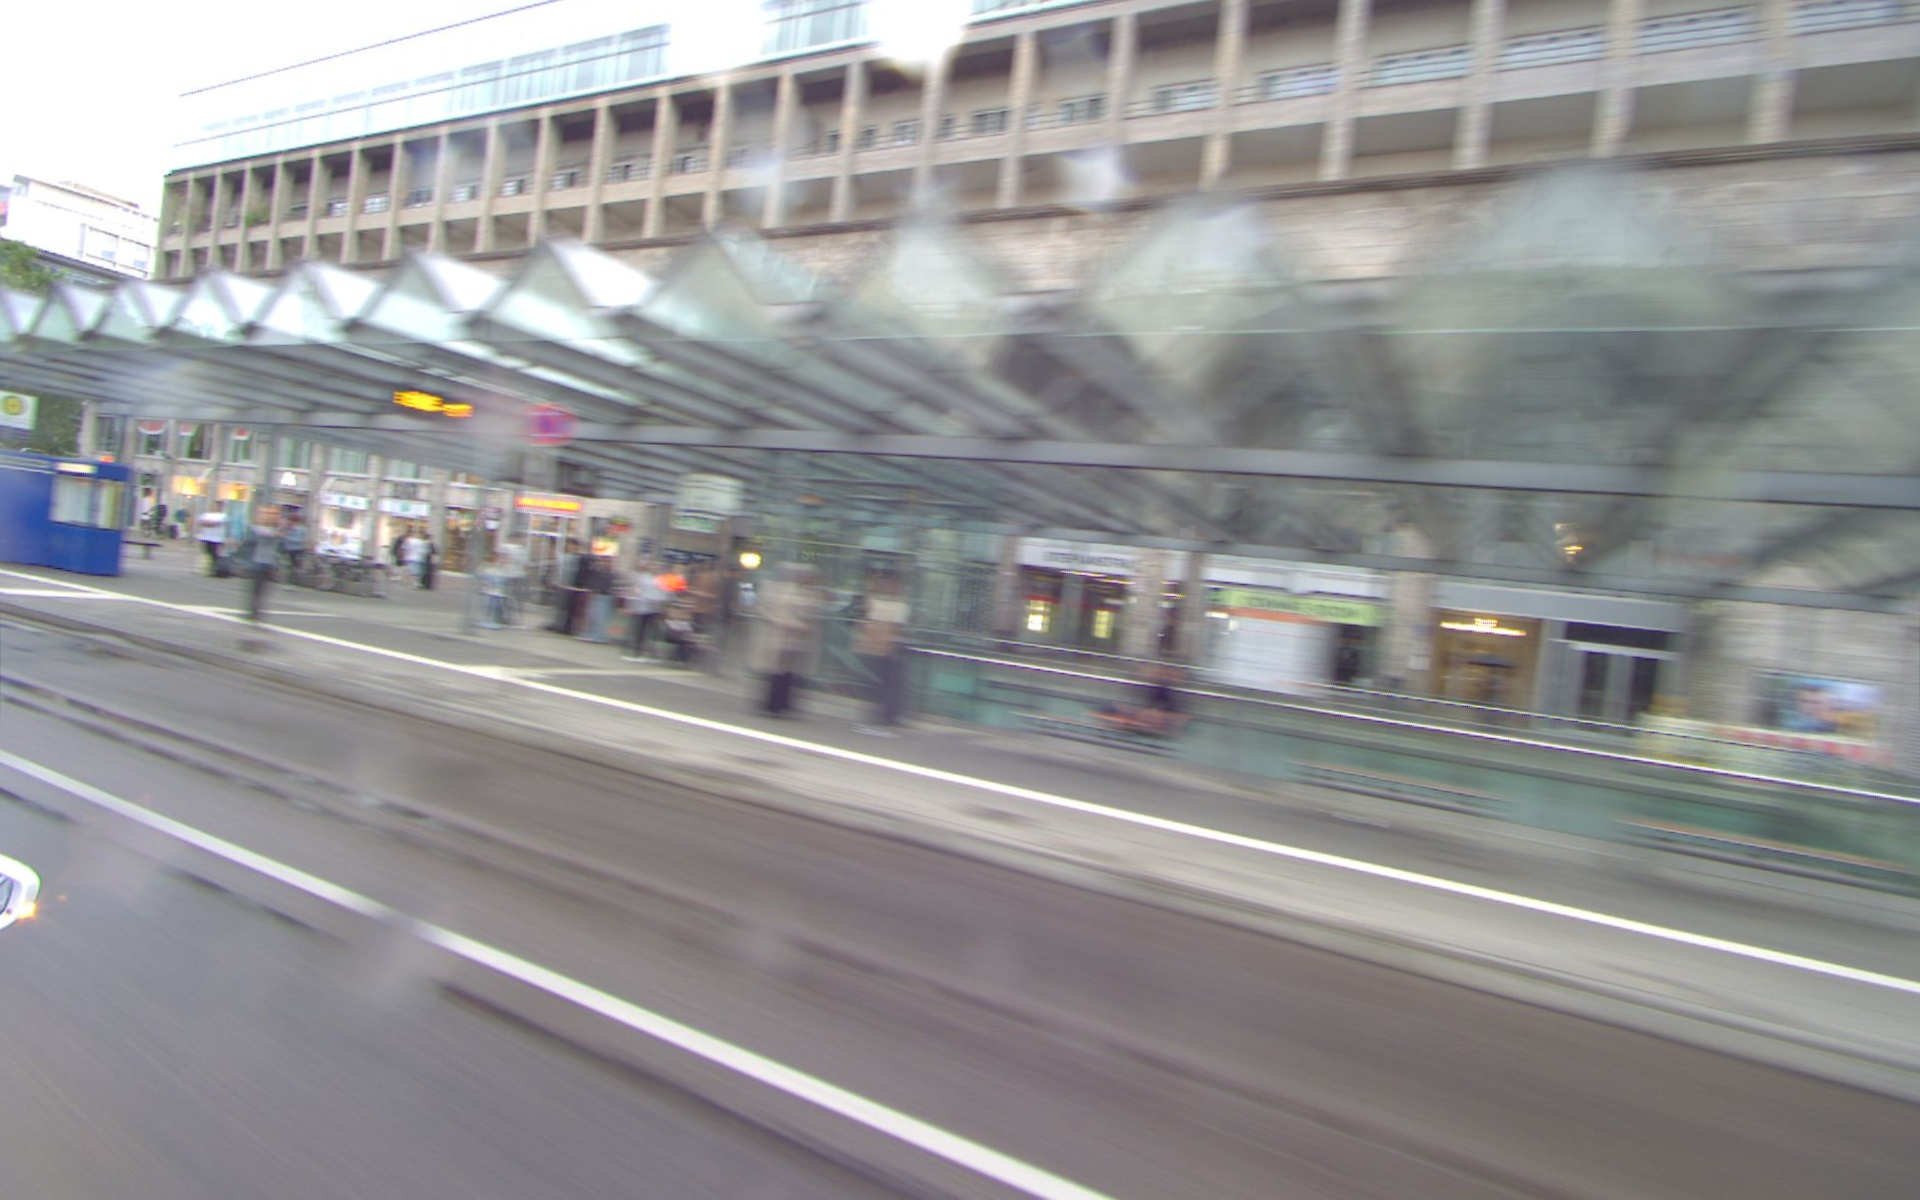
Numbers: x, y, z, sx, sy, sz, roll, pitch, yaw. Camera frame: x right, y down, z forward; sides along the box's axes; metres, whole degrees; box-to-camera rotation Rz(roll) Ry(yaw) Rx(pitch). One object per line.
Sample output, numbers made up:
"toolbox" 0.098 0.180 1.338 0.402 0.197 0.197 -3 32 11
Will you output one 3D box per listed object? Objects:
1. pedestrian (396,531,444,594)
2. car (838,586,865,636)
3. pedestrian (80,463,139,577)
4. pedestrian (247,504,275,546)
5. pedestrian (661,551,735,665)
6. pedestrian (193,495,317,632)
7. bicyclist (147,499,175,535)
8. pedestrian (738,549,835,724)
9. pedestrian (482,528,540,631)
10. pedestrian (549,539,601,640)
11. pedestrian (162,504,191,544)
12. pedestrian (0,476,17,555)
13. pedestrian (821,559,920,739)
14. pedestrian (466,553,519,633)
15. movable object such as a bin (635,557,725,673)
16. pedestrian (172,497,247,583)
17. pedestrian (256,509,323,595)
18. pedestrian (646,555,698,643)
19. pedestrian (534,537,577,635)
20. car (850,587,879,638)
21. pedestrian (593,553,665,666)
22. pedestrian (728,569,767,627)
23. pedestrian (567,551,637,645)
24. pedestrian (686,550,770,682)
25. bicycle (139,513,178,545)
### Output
"pedestrian" -15.890 -1.095 29.631 0.974 1.715 0.853 7 0 -22
"car" -3.617 0.369 33.493 0.464 1.557 0.590 6 -1 30
"pedestrian" -17.657 -1.655 20.889 0.577 2.242 0.591 7 0 30
"pedestrian" -32.165 -3.437 46.284 0.776 1.814 0.653 7 1 32
"pedestrian" -4.535 0.153 17.438 0.748 1.871 0.752 7 0 24
"pedestrian" -9.592 -0.473 13.715 0.980 1.711 0.762 7 0 7
"bicyclist" -37.567 -3.888 47.310 0.892 1.574 0.650 6 1 29
"pedestrian" -1.937 0.411 11.268 0.564 1.859 0.677 7 0 30
"pedestrian" -8.669 -0.390 19.437 0.615 1.882 0.607 7 0 37
"pedestrian" -7.431 -0.192 19.444 0.582 1.853 0.607 7 0 -1
"pedestrian" -38.828 -3.754 49.855 0.775 1.814 0.732 7 1 27
"pedestrian" -23.346 -2.076 24.056 0.824 1.859 0.983 7 0 43
"pedestrian" -0.974 0.534 11.031 0.630 1.859 0.628 7 0 30
"pedestrian" -8.661 -0.125 18.653 0.499 1.394 0.553 7 0 23
"movable object such as a bin" -4.391 0.240 15.822 1.029 1.672 0.665 7 0 5
"pedestrian" -17.396 -1.381 23.338 0.974 1.827 0.788 6 1 -1
"pedestrian" -14.554 -1.041 21.839 0.887 1.716 0.749 7 0 31
"pedestrian" -6.420 -0.010 22.458 0.739 1.853 0.761 7 0 -1
"pedestrian" -8.192 -0.289 20.365 0.590 1.897 0.587 7 0 -25
"car" -3.131 0.414 32.989 0.558 1.557 0.590 6 -1 30
"pedestrian" -5.233 0.153 15.935 0.667 1.675 0.762 7 0 4
"pedestrian" -6.761 -0.055 32.039 0.740 1.731 0.761 7 0 28
"pedestrian" -6.669 -0.026 18.767 0.748 1.627 0.752 7 0 23
"pedestrian" -3.476 0.241 15.080 0.751 1.859 0.749 7 0 43
"bicycle" -37.736 -3.345 47.375 1.979 1.270 0.660 7 0 29
